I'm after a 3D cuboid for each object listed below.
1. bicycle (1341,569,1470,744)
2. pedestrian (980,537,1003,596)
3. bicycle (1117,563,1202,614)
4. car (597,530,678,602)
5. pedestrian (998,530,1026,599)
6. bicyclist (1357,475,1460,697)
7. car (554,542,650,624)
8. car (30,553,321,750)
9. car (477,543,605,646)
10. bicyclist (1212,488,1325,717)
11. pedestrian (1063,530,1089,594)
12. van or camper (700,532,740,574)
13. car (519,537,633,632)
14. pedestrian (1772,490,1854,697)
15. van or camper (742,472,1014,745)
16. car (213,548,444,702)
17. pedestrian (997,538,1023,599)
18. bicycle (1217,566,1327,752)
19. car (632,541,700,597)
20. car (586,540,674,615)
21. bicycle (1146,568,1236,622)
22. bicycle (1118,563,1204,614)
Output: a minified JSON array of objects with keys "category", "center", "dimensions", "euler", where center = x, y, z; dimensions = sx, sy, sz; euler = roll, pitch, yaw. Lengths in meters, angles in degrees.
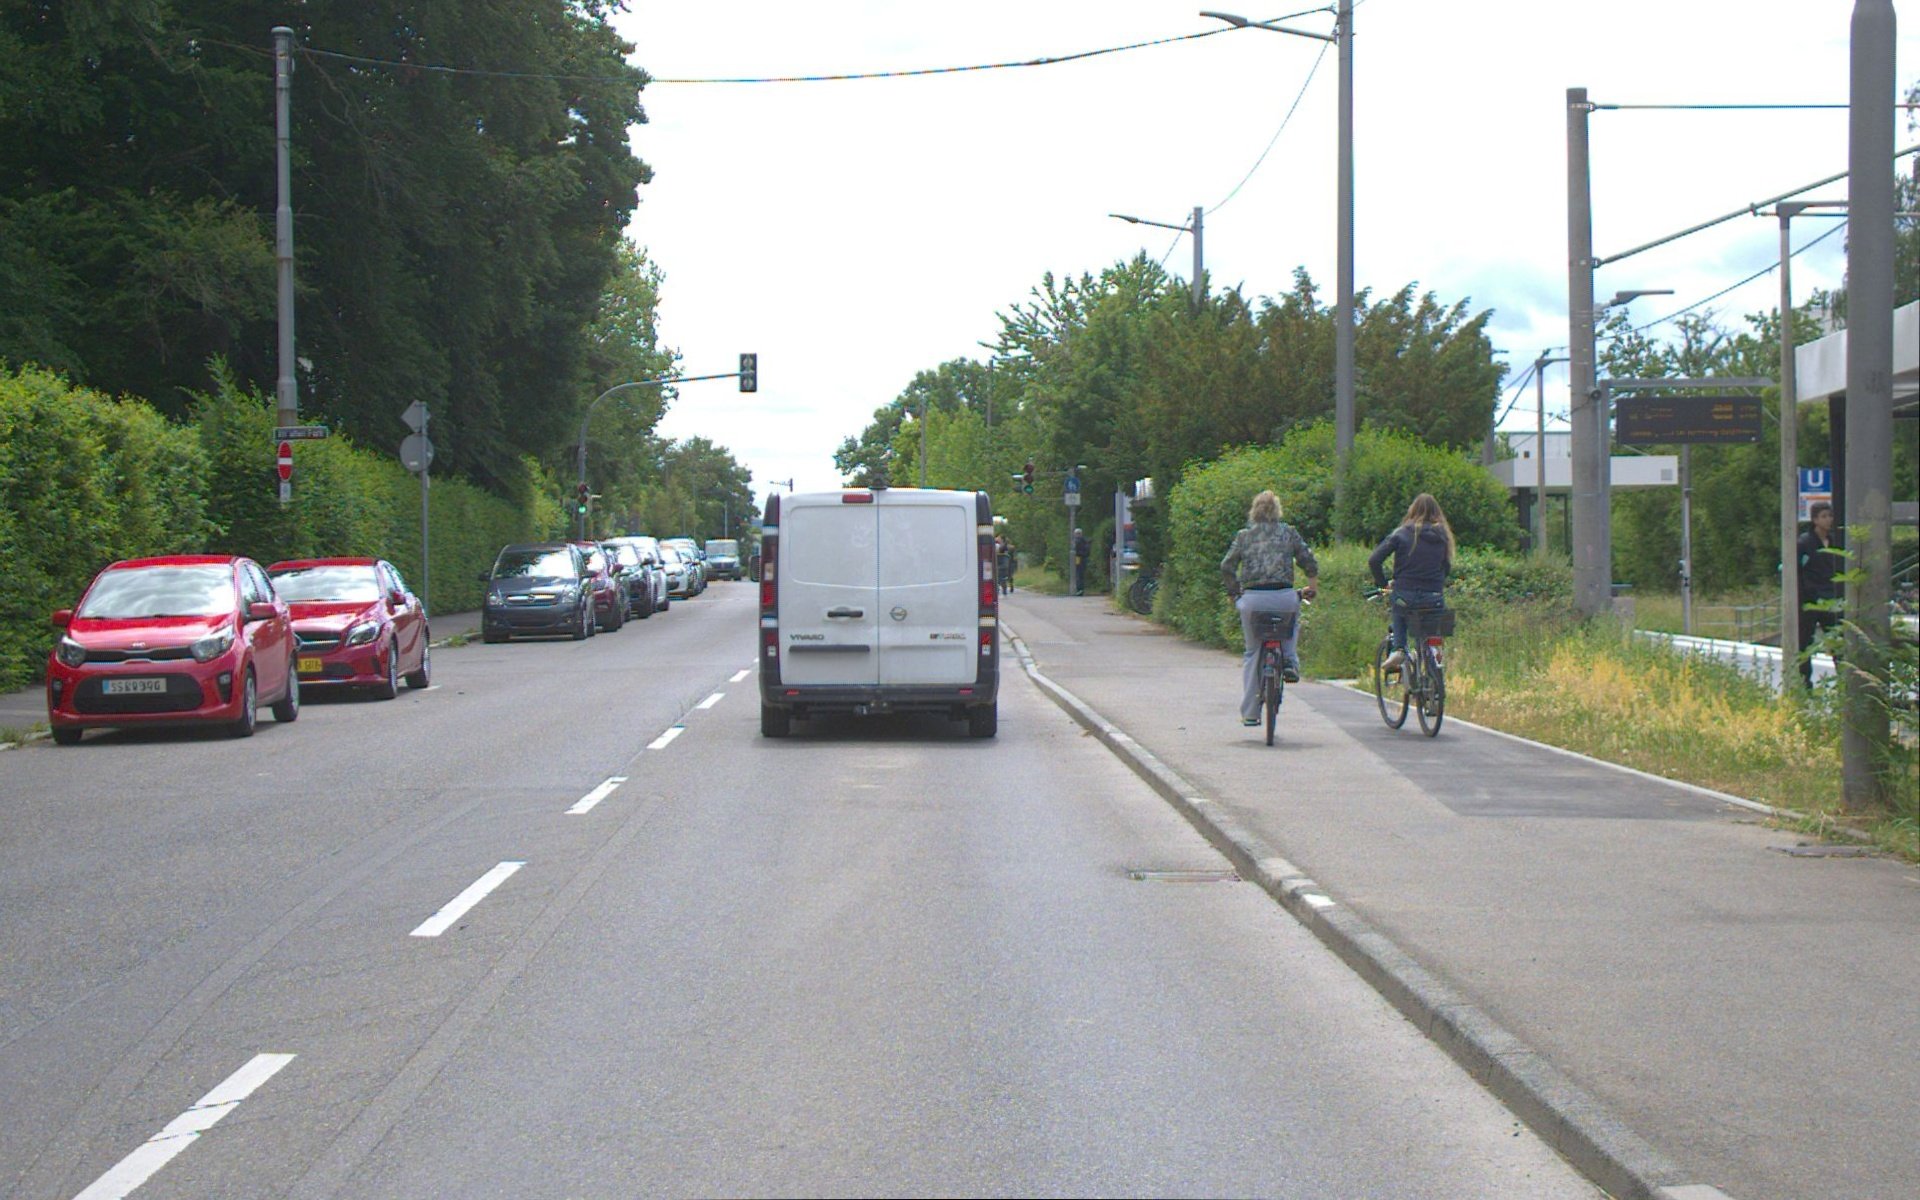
[{"category":"bicycle","center":[3.384,0.405,26.265],"dimensions":[0.618,1.242,2.396],"euler":[0,1,-1]},{"category":"pedestrian","center":[0.986,-1.058,108.908],"dimensions":[0.702,1.844,0.666],"euler":[0,1,-1]},{"category":"bicycle","center":[4.078,-0.237,70.310],"dimensions":[1.698,1.027,0.491],"euler":[0,1,-2]},{"category":"car","center":[-8.040,-0.867,85.986],"dimensions":[1.761,1.750,3.815],"euler":[-1,1,-2]},{"category":"pedestrian","center":[1.382,-0.940,91.048],"dimensions":[0.680,1.834,0.645],"euler":[0,1,5]},{"category":"bicyclist","center":[3.373,-0.112,25.924],"dimensions":[0.639,1.644,0.819],"euler":[0,1,-1]},{"category":"car","center":[-7.603,-0.387,73.235],"dimensions":[1.761,1.651,3.815],"euler":[-1,1,-2]},{"category":"car","center":[-6.503,0.379,28.819],"dimensions":[1.588,1.499,3.515],"euler":[-1,1,0]},{"category":"car","center":[-6.945,-0.127,57.317],"dimensions":[1.761,1.620,4.186],"euler":[-1,1,-2]},{"category":"bicyclist","center":[2.202,0.010,24.607],"dimensions":[0.717,1.606,0.757],"euler":[0,1,-1]},{"category":"pedestrian","center":[3.114,-1.026,92.223],"dimensions":[0.674,1.690,0.522],"euler":[0,1,4]},{"category":"van or camper","center":[-13.095,-2.567,187.468],"dimensions":[2.004,2.254,4.613],"euler":[-1,1,-5]},{"category":"car","center":[-7.032,-0.310,63.235],"dimensions":[1.761,1.651,4.061],"euler":[-1,1,-2]},{"category":"pedestrian","center":[7.191,-0.062,28.975],"dimensions":[0.638,1.719,0.654],"euler":[1,1,14]},{"category":"van or camper","center":[-0.635,0.047,28.001],"dimensions":[1.993,2.007,4.446],"euler":[1,0,-1]},{"category":"car","center":[-6.506,0.215,35.805],"dimensions":[1.761,1.466,4.186],"euler":[-1,1,-2]},{"category":"pedestrian","center":[1.490,-0.943,101.767],"dimensions":[0.649,1.800,0.566],"euler":[0,1,-12]},{"category":"bicycle","center":[2.210,0.393,24.551],"dimensions":[0.546,1.242,2.055],"euler":[0,1,-1]},{"category":"car","center":[-8.502,-0.902,99.552],"dimensions":[1.761,1.551,3.815],"euler":[-1,1,-2]},{"category":"car","center":[-7.555,-0.531,79.026],"dimensions":[1.761,1.651,3.815],"euler":[-1,1,-2]},{"category":"bicycle","center":[4.515,-0.096,67.288],"dimensions":[1.698,1.027,0.491],"euler":[0,1,-2]},{"category":"bicycle","center":[4.084,-0.233,69.778],"dimensions":[1.698,1.027,0.491],"euler":[0,1,-2]}]
